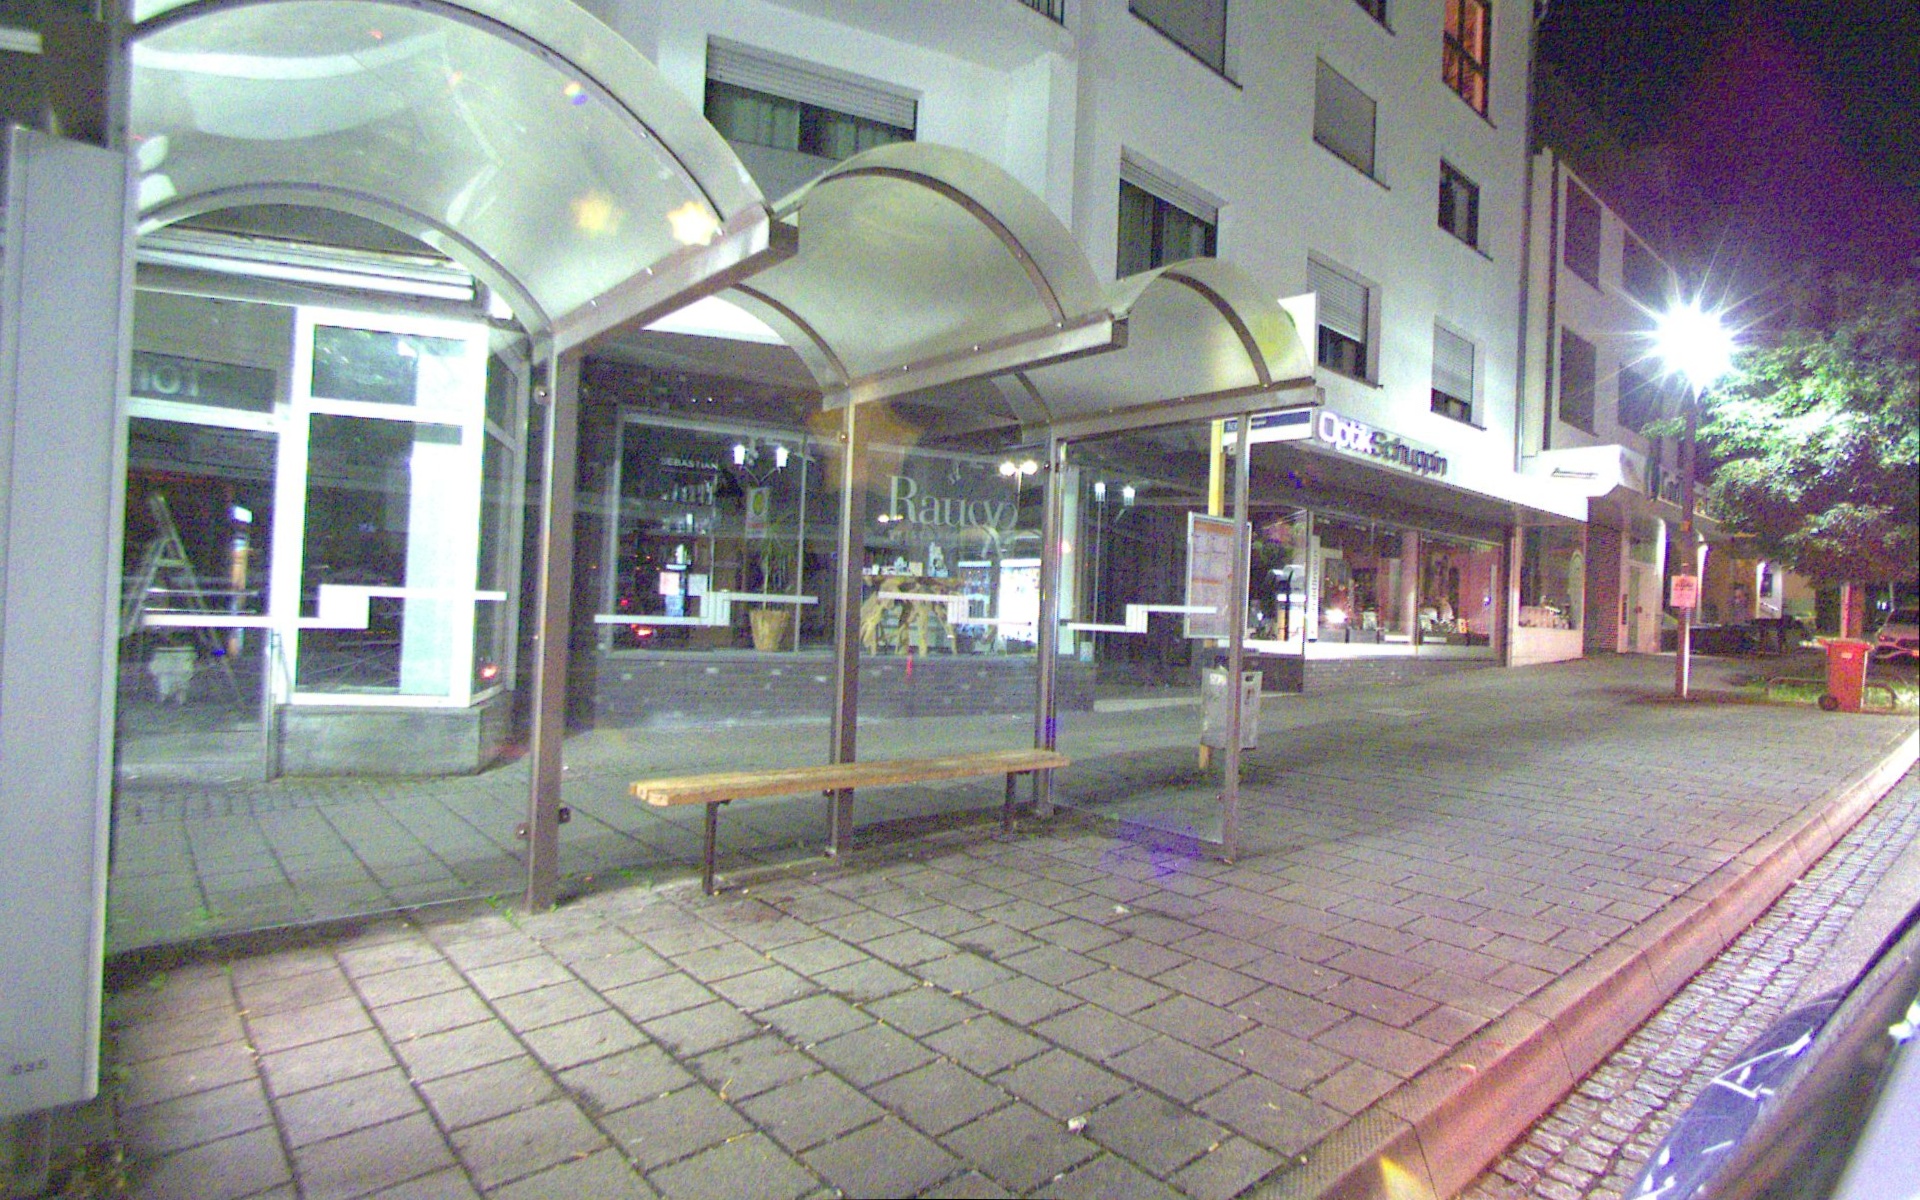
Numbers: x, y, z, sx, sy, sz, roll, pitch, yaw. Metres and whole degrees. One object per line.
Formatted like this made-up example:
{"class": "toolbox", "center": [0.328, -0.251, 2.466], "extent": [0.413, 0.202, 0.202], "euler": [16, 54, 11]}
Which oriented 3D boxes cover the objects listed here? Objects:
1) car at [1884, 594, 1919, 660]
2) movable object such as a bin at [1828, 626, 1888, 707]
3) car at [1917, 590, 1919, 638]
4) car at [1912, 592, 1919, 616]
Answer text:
{"class": "car", "center": [23.764, 0.637, 24.452], "extent": [4.519, 1.459, 1.859], "euler": [-1, 3, -45]}
{"class": "movable object such as a bin", "center": [11.345, 0.825, 12.796], "extent": [0.523, 0.949, 0.621], "euler": [0, 1, 38]}
{"class": "car", "center": [35.302, 0.506, 35.921], "extent": [1.788, 1.661, 4.309], "euler": [4, 3, 44]}
{"class": "car", "center": [59.716, 0.227, 62.274], "extent": [1.638, 1.485, 3.717], "euler": [-1, 0, 43]}
